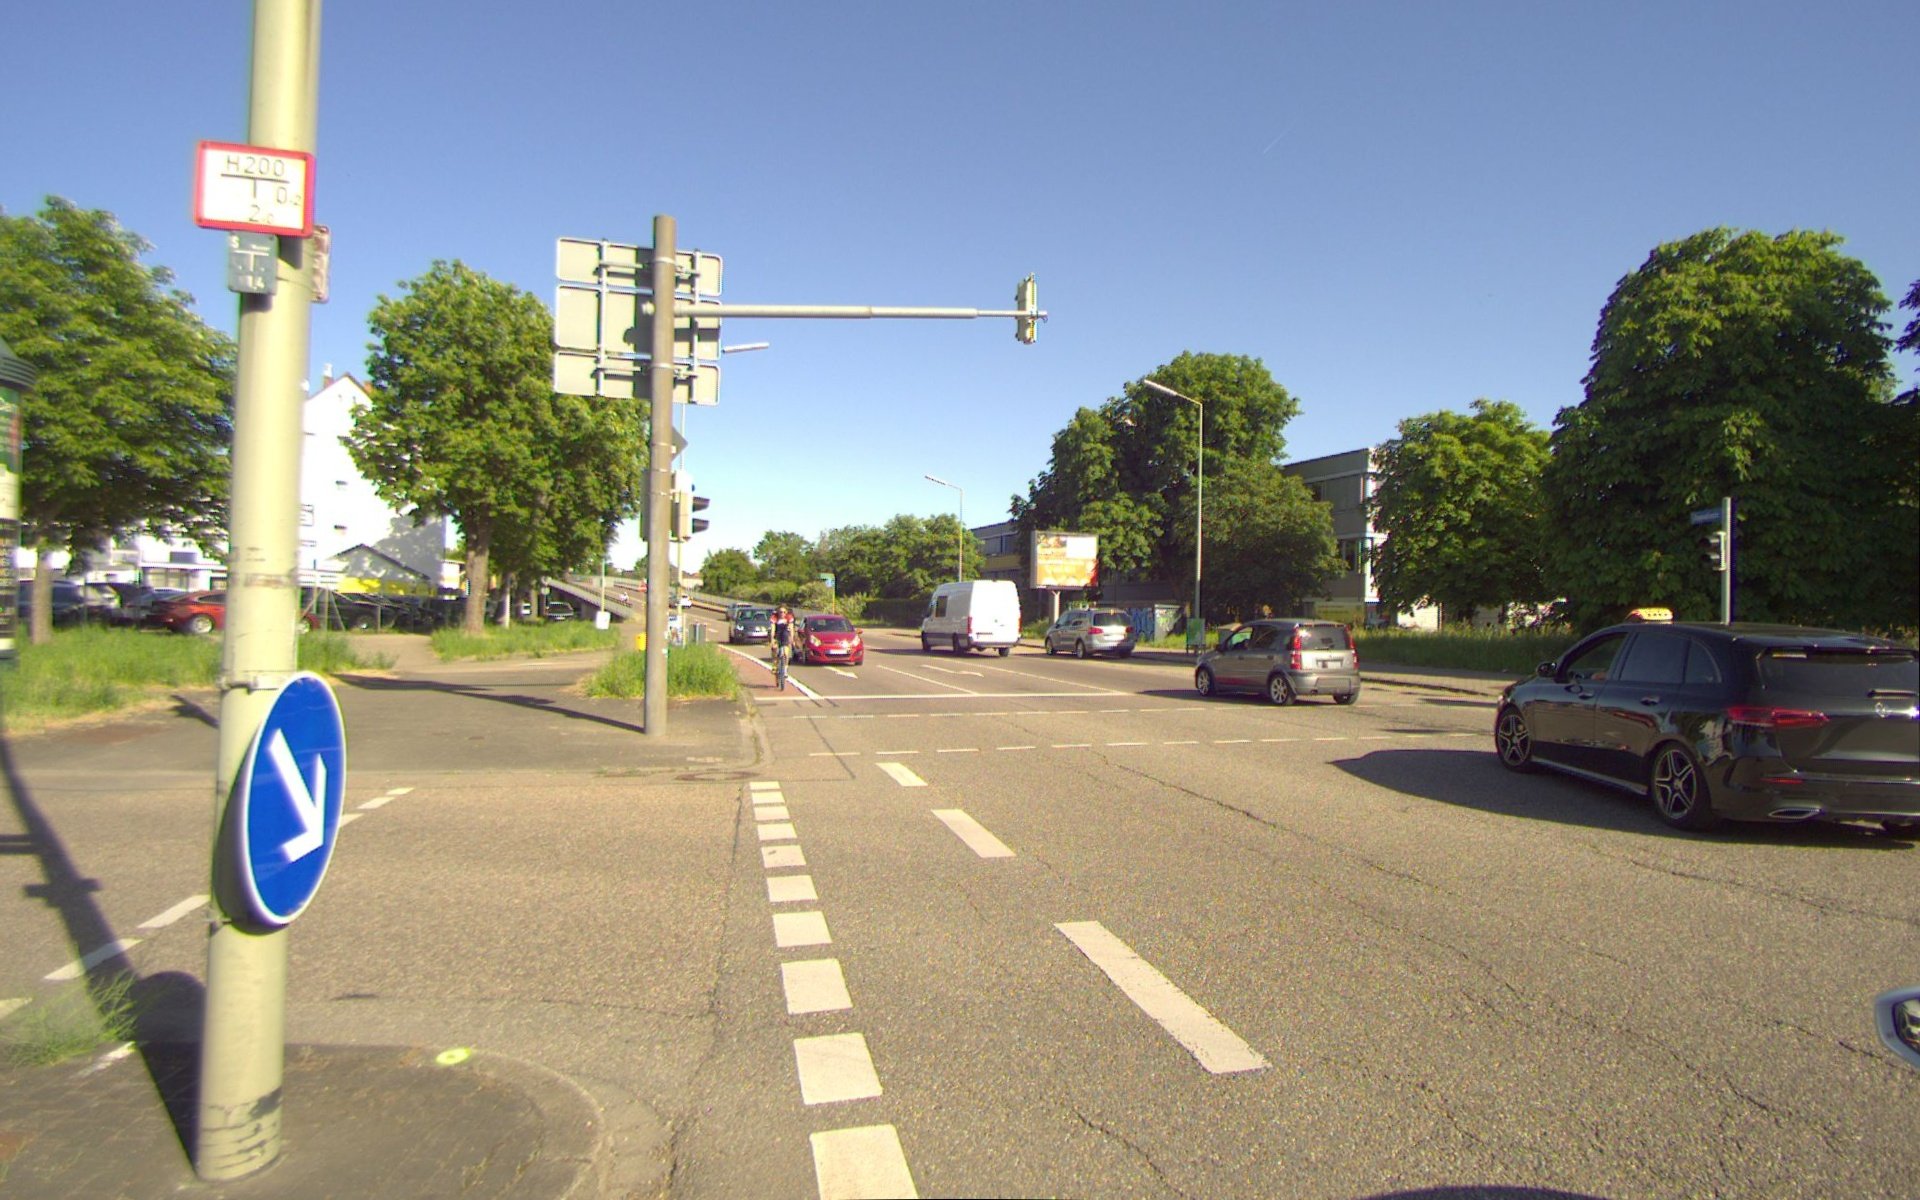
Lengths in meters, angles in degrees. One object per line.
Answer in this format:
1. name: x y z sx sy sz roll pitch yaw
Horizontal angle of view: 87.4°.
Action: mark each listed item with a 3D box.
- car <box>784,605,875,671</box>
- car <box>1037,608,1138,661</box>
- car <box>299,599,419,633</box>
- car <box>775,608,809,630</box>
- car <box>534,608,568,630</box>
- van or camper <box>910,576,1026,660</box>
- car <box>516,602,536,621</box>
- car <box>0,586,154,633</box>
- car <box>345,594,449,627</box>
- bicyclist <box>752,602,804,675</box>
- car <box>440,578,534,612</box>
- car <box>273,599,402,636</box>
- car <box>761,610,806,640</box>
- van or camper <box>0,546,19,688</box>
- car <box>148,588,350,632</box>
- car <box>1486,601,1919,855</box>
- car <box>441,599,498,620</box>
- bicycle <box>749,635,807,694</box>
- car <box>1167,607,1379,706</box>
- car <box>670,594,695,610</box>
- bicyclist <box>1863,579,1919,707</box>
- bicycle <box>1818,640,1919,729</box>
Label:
1. car: -3.971 1.089 30.034 1.830 1.759 4.251 2 0 -19
2. car: 4.433 1.174 35.699 1.849 1.745 4.595 -1 0 -17
3. car: -24.547 0.662 41.072 3.902 1.257 2.019 2 0 -41
4. car: -12.060 1.360 71.982 1.893 1.508 4.255 0 -1 -17
5. car: -29.666 1.359 72.737 2.017 1.483 4.930 2 -1 -25
6. van or camper: 0.124 0.620 37.430 2.198 2.775 7.053 2 0 -17
7. car: -48.551 1.243 112.337 1.902 2.017 4.233 2 0 -23
8. car: -30.819 0.336 34.910 3.935 1.526 1.827 1 -1 -16
9. car: -28.989 0.554 51.834 4.377 1.596 1.791 2 0 -43
10. bicyclist: -3.701 0.769 20.346 0.921 1.420 0.820 2 0 -16
11. car: -24.238 -0.228 51.516 3.969 1.581 1.976 2 0 -41
12. car: -23.732 0.673 38.335 3.902 1.257 2.019 2 0 -41
13. car: -10.096 1.398 57.167 1.890 1.620 3.983 1 -1 -19
14. van or camper: -20.766 0.279 17.286 2.570 2.617 6.571 0 -1 44
15. car: -23.700 0.350 33.672 2.322 1.327 5.043 2 0 36
16. car: 6.205 0.871 8.501 1.739 1.614 3.991 1 -1 6
17. car: -38.638 0.745 79.199 1.756 1.530 3.656 2 0 37
18. bicycle: -3.697 1.269 20.275 0.925 1.030 2.189 2 0 -16
19. car: 5.748 0.991 18.976 1.783 1.661 3.982 2 -1 -20
20. car: -29.098 0.212 105.183 1.857 1.564 3.975 2 0 -25
21. bicyclist: 13.374 0.597 13.782 0.874 1.715 1.190 2 0 4
22. bicycle: 13.350 1.177 13.692 0.885 1.140 2.954 2 0 4
